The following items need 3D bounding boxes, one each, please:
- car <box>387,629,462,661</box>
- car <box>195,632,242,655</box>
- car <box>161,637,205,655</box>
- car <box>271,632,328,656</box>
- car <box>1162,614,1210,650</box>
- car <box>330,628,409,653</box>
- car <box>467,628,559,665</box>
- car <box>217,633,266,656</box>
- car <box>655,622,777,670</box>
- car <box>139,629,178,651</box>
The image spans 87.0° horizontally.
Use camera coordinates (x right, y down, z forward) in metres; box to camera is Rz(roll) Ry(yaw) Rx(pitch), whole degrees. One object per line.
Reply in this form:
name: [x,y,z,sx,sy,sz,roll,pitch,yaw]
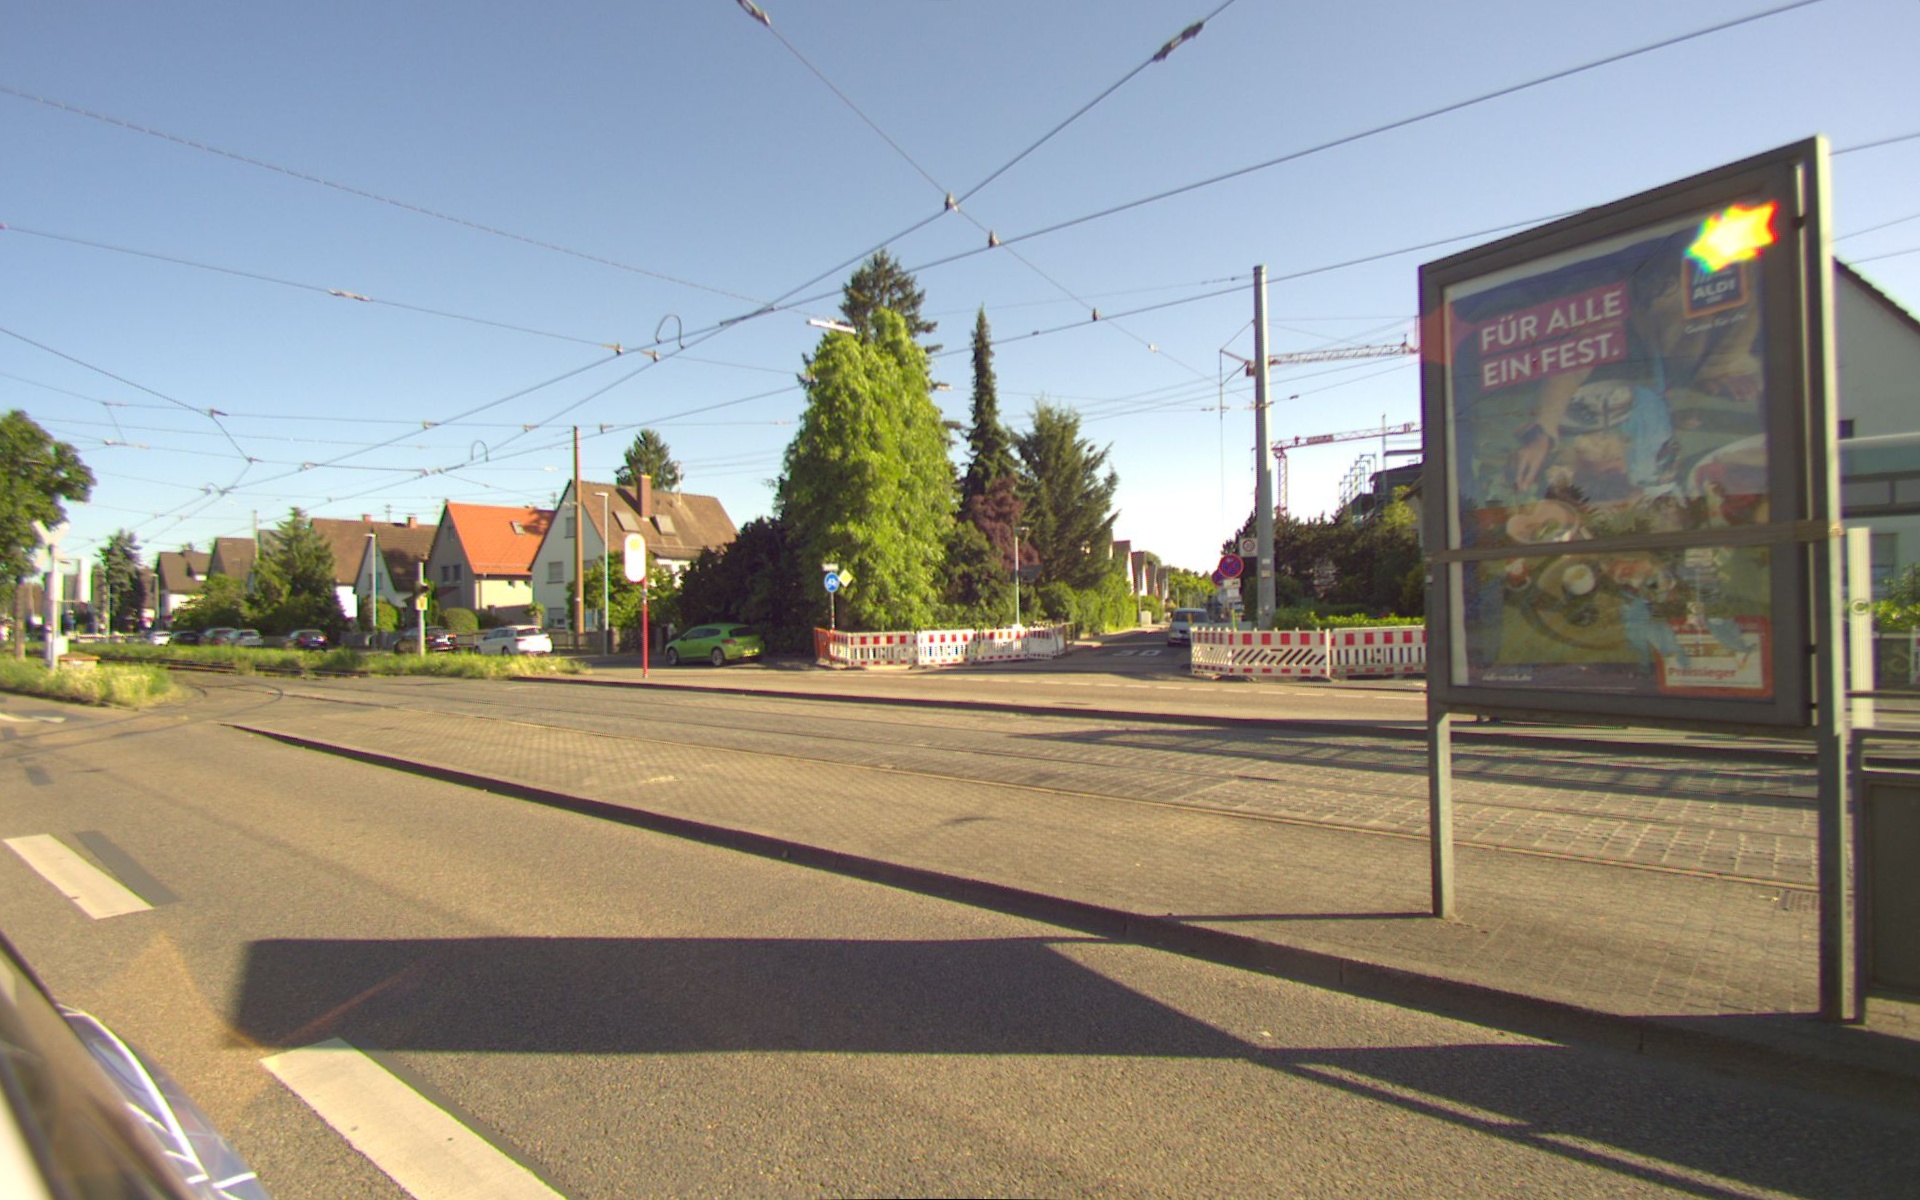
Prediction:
car: [-27.081,2.232,51.141,4.439,1.477,1.887,-1,0,41]
car: [-55.818,3.291,76.141,4.534,1.572,1.864,-2,0,41]
car: [-64.507,3.798,83.960,4.980,1.351,1.973,-1,0,41]
car: [-41.217,2.708,63.114,4.308,1.382,1.972,-2,-1,42]
car: [9.831,1.345,43.804,1.733,1.418,4.467,-2,-1,16]
car: [-41.786,2.834,71.691,1.746,1.481,4.433,-2,1,39]
car: [-19.788,2.033,44.704,4.610,1.483,1.865,-1,0,40]
car: [-51.841,3.222,73.020,4.837,1.483,1.864,-2,0,42]
car: [-8.494,1.569,35.158,4.061,1.512,1.976,-2,0,37]
car: [-71.143,3.532,89.830,4.582,1.877,1.973,-2,-1,42]
